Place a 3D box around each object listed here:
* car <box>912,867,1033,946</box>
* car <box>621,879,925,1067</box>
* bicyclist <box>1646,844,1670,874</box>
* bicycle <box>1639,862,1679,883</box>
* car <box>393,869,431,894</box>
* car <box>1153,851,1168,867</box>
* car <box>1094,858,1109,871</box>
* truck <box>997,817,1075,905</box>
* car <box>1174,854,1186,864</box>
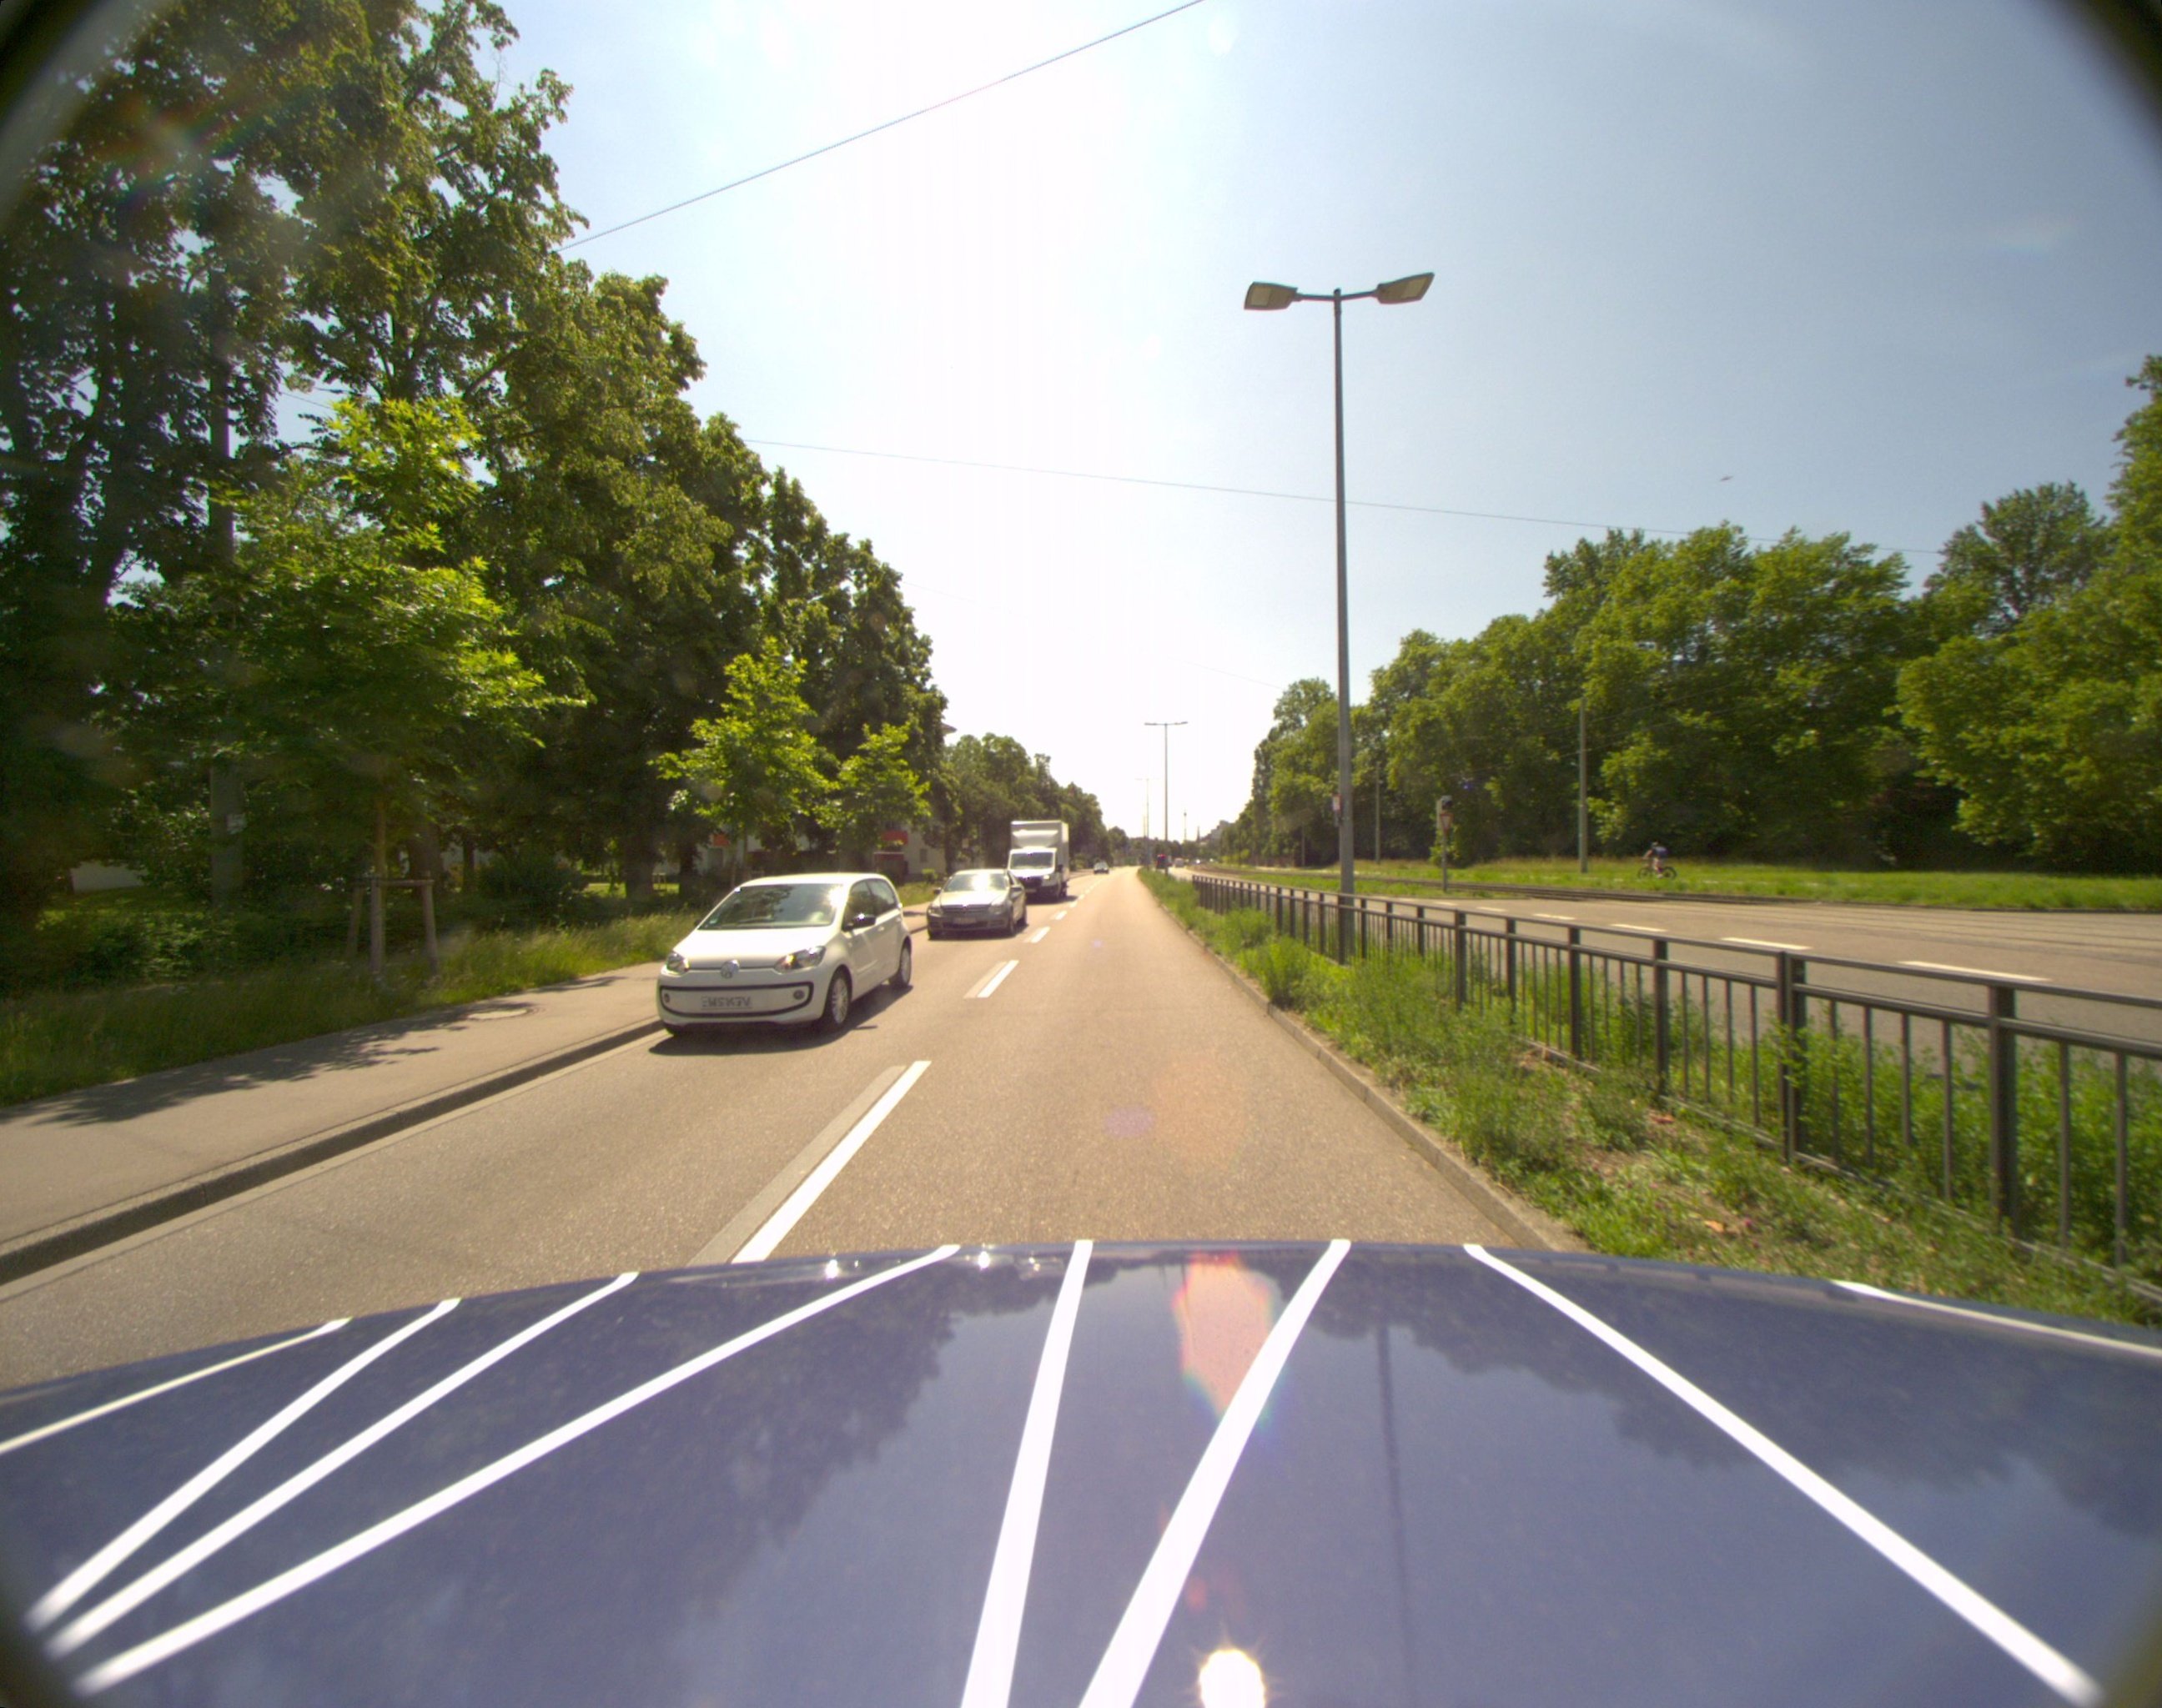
[{"bbox_3d":[-2.311,1.091,17.261,1.903,1.451,3.972,-2,0,3],"label":"car"},{"bbox_3d":[-3.028,1.087,8.419,1.663,1.441,3.855,-2,0,1],"label":"car"},{"bbox_3d":[25.688,0.229,33.828,0.509,1.328,0.680,-1,0,-5],"label":"bicyclist"},{"bbox_3d":[25.723,0.821,33.839,0.509,0.896,1.565,-1,0,-5],"label":"bicycle"},{"bbox_3d":[-50.434,2.034,57.226,1.880,1.714,3.915,-1,0,-45],"label":"car"},{"bbox_3d":[12.422,0.779,118.575,1.998,2.352,5.374,0,0,2],"label":"car"},{"bbox_3d":[2.607,1.319,96.317,1.829,1.556,4.000,-1,0,1],"label":"car"},{"bbox_3d":[-1.721,0.265,32.589,2.294,3.259,8.313,-1,0,3],"label":"truck"},{"bbox_3d":[21.142,1.113,162.545,1.998,2.001,5.031,0,0,2],"label":"car"}]
